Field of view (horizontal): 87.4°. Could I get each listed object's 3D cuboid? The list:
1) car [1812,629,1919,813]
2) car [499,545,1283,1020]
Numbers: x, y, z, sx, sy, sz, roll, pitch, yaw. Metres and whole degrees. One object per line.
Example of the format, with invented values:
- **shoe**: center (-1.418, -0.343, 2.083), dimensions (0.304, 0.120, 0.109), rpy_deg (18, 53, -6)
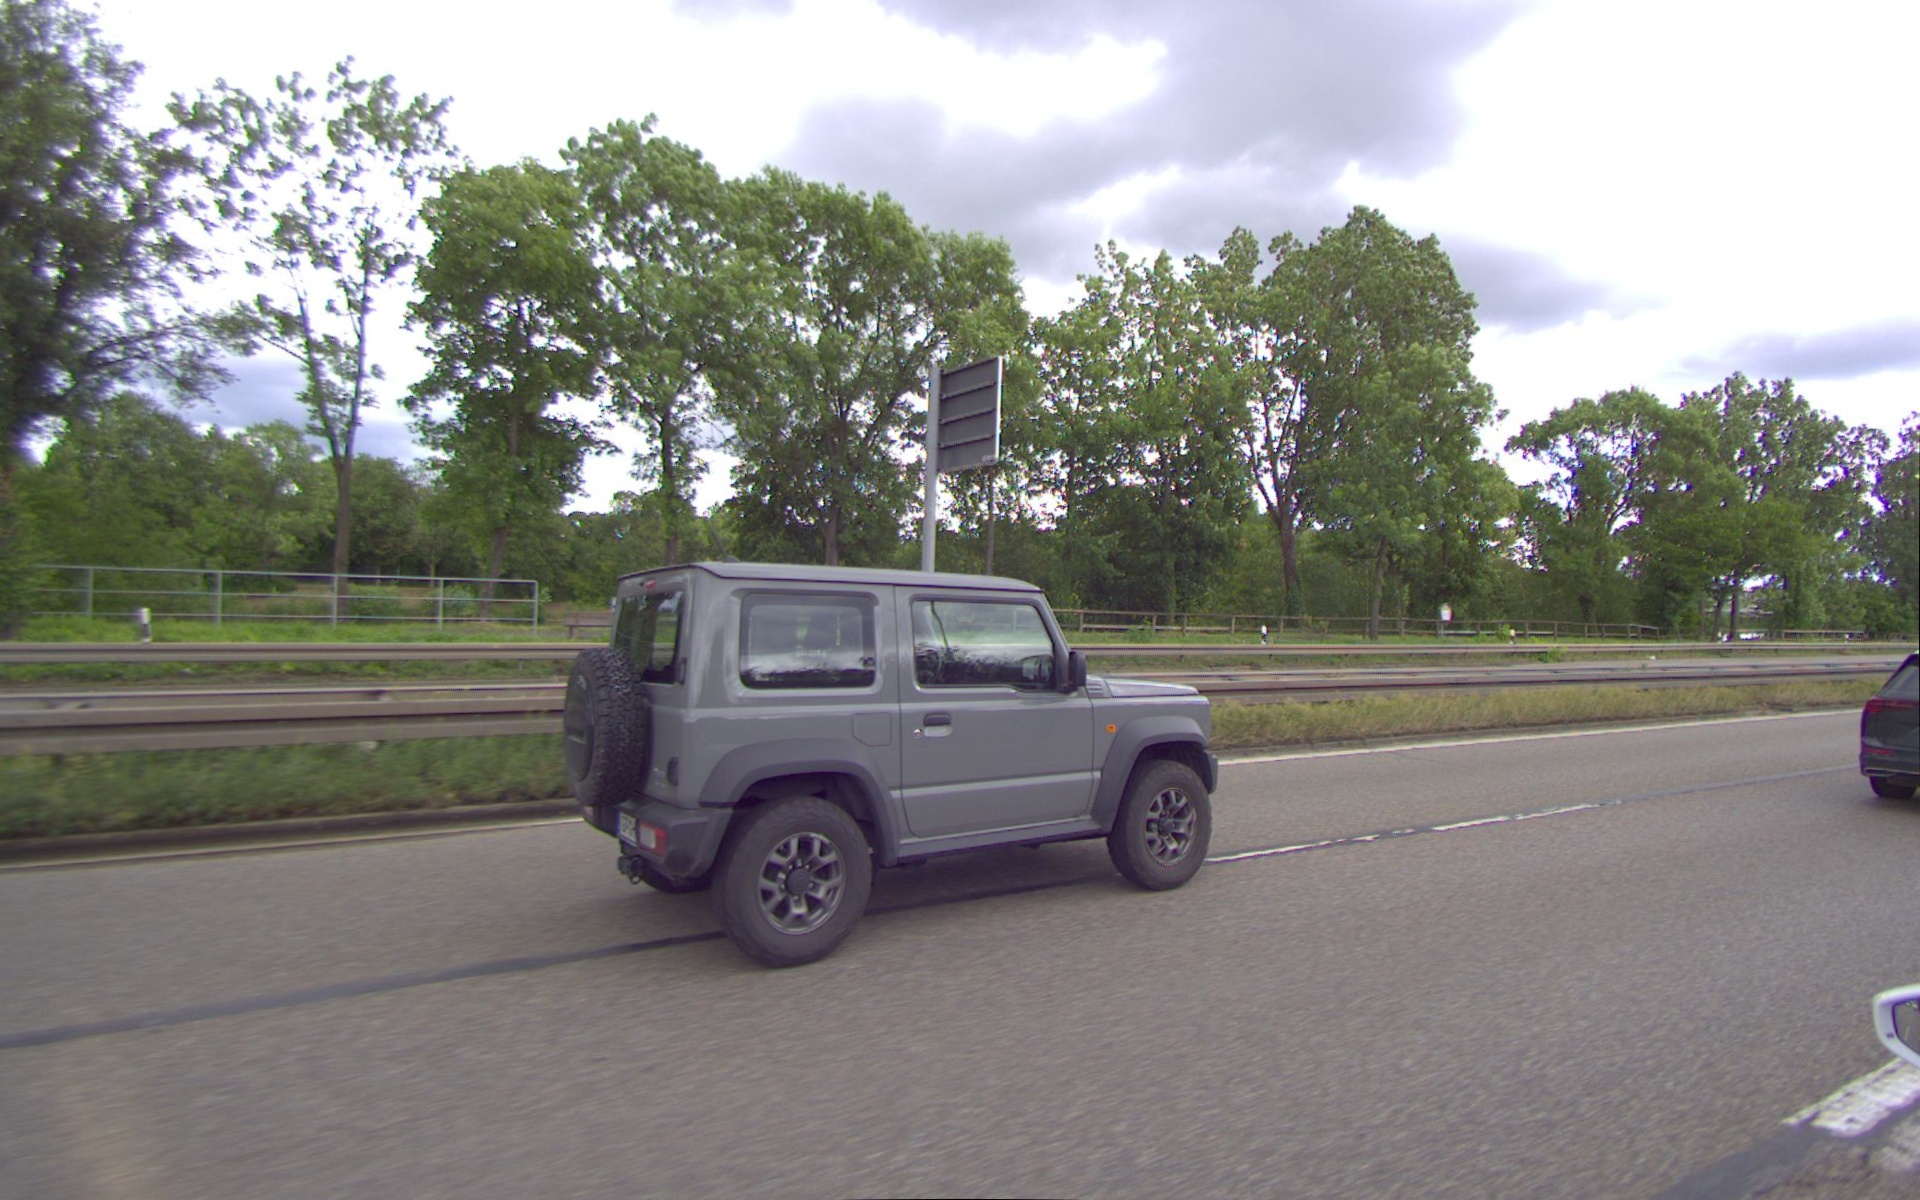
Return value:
- **car**: center (9.869, 1.039, 9.106), dimensions (4.845, 1.442, 1.835), rpy_deg (1, 1, -32)
- **car**: center (-0.209, 0.712, 5.456), dimensions (3.959, 1.708, 1.687), rpy_deg (1, -2, -34)
